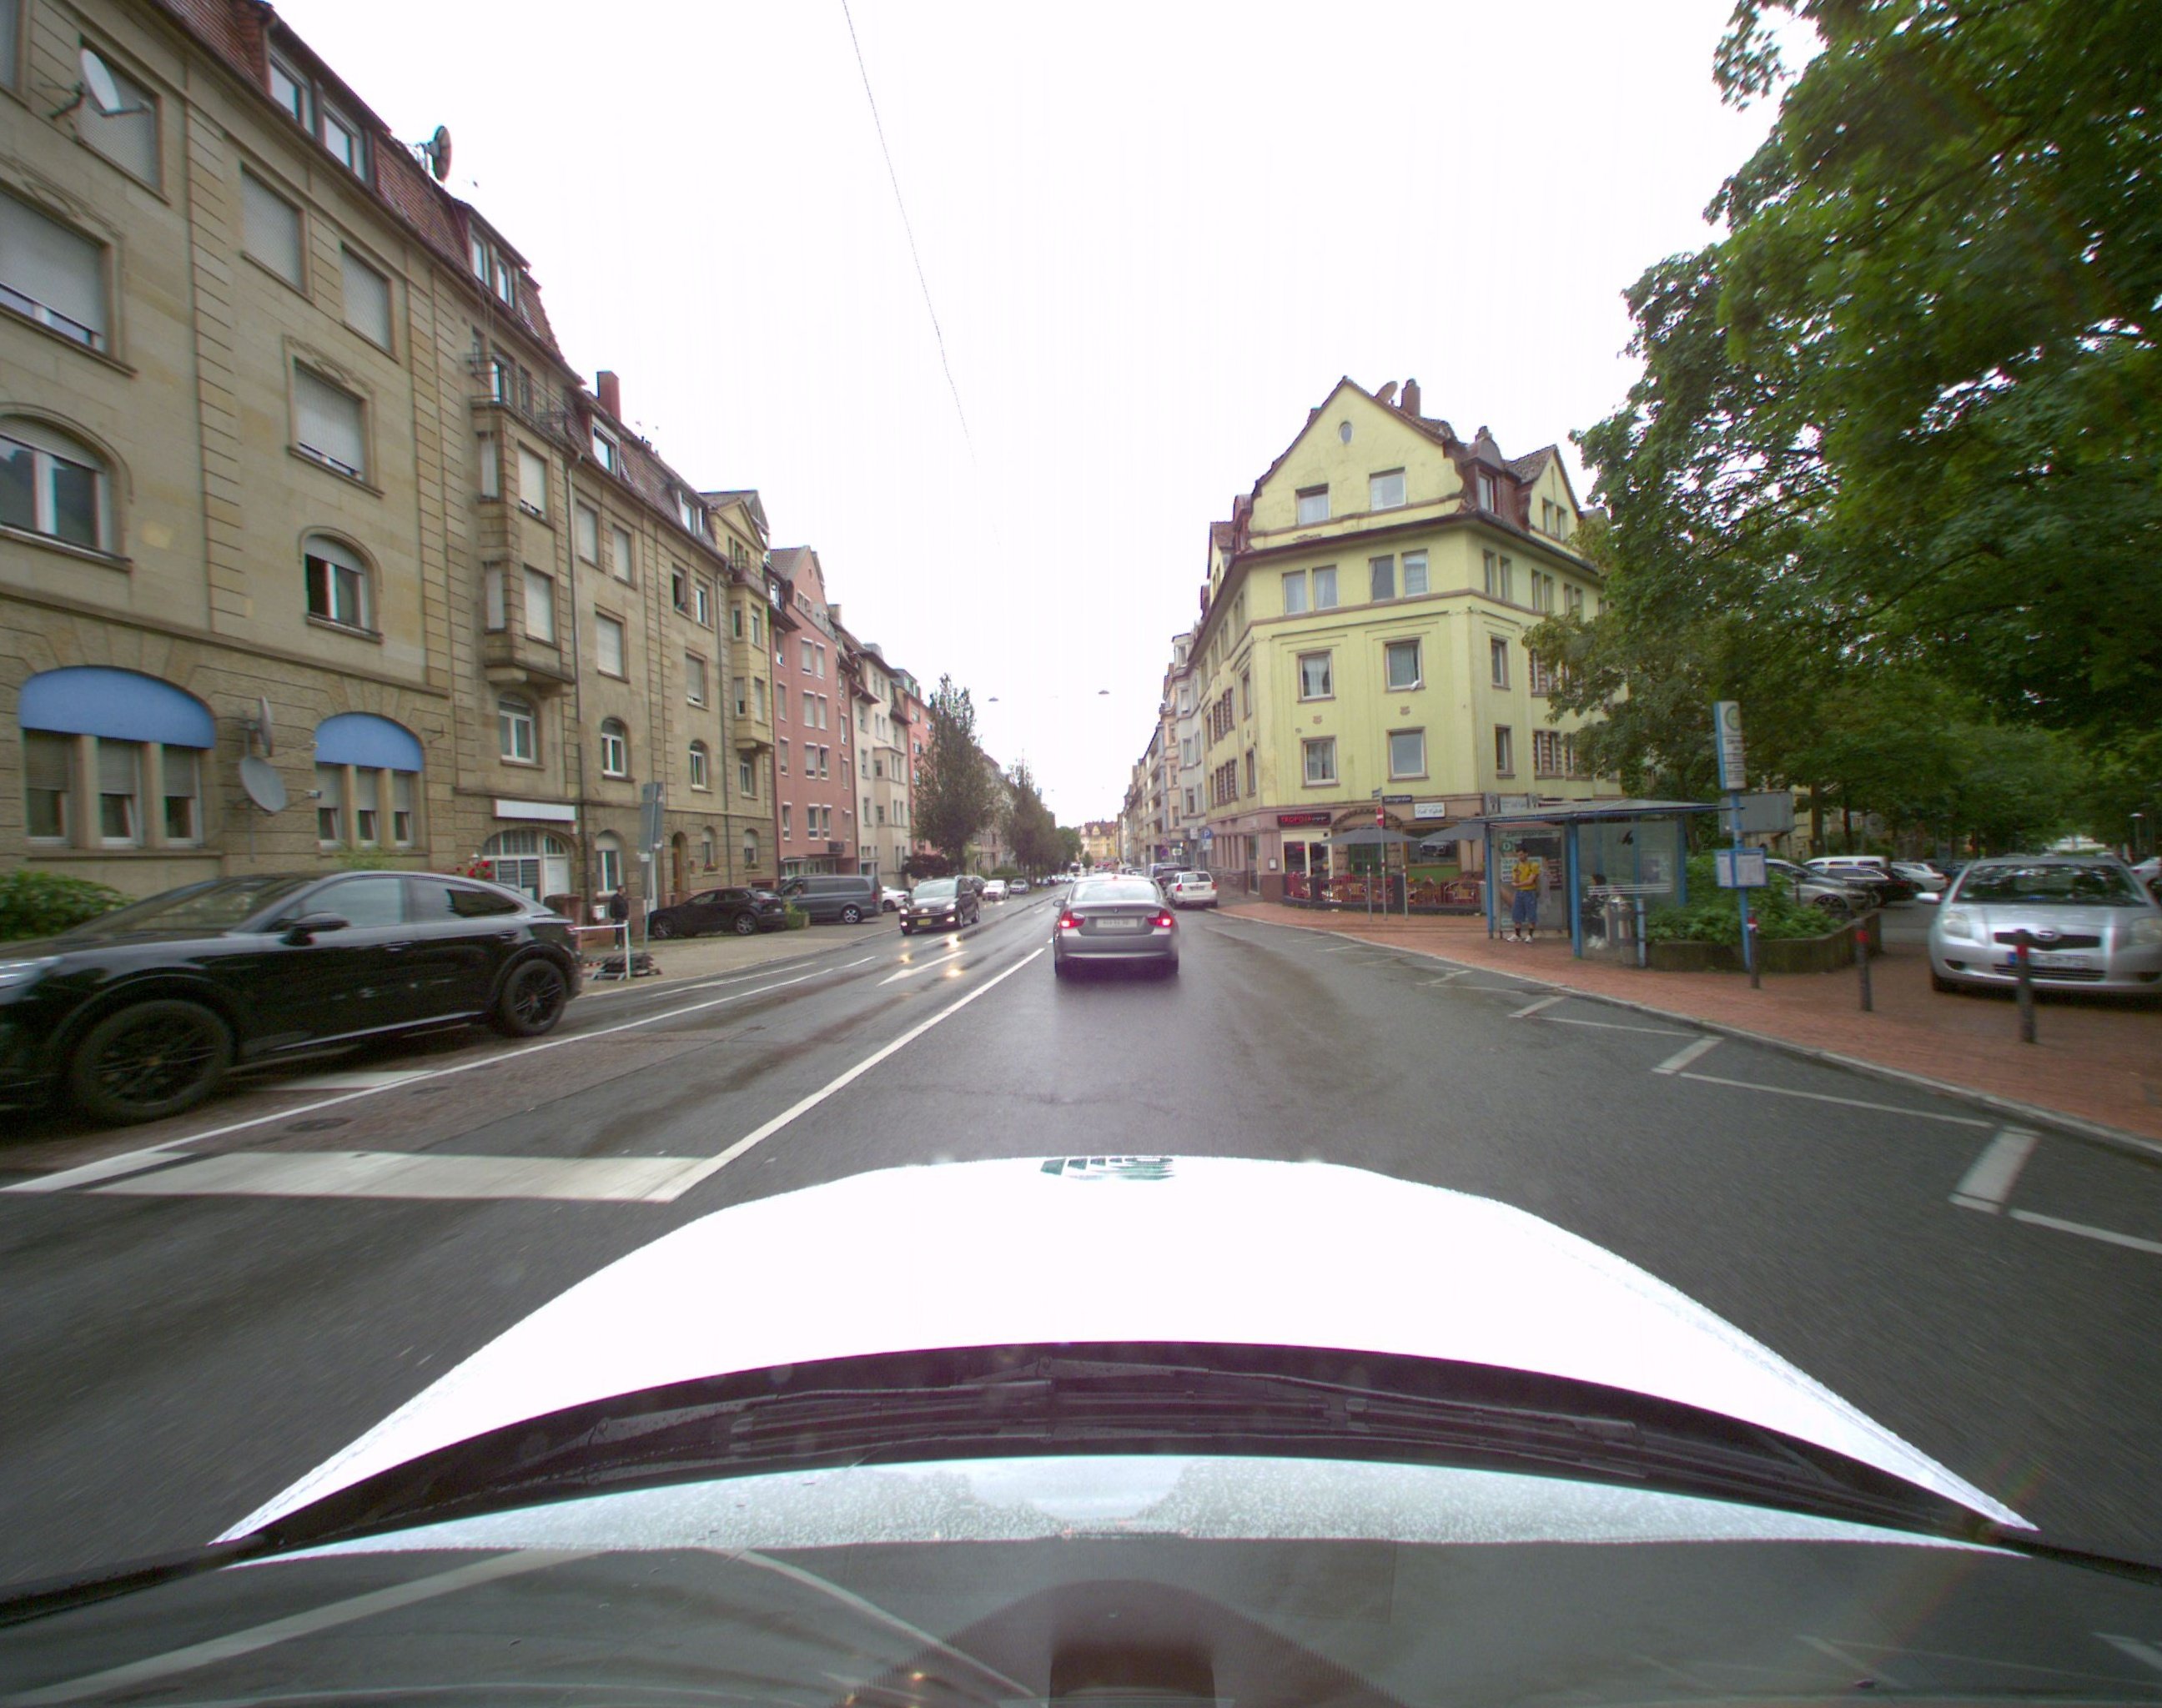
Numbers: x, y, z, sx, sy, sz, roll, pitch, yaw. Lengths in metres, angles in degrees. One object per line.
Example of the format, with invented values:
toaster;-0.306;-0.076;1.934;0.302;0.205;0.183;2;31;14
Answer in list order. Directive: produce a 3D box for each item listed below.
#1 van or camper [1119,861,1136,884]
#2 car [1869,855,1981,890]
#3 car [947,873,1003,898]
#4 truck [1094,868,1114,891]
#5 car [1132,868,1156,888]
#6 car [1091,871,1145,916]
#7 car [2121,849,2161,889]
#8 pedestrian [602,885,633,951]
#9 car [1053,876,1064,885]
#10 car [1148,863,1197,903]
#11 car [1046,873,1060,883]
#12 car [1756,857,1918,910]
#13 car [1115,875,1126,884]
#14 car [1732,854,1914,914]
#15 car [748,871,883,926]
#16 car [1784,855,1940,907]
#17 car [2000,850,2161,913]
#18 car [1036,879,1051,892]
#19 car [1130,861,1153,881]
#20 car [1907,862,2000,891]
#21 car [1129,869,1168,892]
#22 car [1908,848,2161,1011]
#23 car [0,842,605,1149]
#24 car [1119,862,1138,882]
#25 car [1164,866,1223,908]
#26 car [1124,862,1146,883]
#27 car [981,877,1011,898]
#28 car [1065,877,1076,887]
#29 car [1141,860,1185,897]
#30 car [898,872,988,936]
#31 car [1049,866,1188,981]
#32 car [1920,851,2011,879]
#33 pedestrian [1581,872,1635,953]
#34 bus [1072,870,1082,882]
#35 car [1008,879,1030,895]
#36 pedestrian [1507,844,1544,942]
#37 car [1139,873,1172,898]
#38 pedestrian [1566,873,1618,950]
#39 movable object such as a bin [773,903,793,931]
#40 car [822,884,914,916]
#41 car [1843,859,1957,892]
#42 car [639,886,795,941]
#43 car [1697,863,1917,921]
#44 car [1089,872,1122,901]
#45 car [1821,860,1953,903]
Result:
van or camper;6.154;2.459;108.181;2.023;2.869;6.893;0;-1;5
car;43.860;0.962;42.367;1.801;1.748;3.853;0;-1;-38
car;-9.850;2.900;75.980;4.812;1.974;2.048;-4;-2;1
truck;2.494;2.848;90.105;2.025;2.413;4.826;-1;-2;1
car;4.844;1.850;62.941;1.605;1.475;4.016;-2;-1;1
car;1.273;1.316;27.972;1.675;1.428;3.742;-1;-2;2
car;42.086;0.549;30.626;1.689;1.536;3.610;0;-1;-38
pedestrian;-12.829;1.771;22.542;0.474;1.777;0.567;-1;-1;9
car;-4.163;4.926;151.828;1.684;1.523;3.738;-5;-1;2
car;4.275;1.348;38.632;1.872;1.732;4.677;-1;-1;1
car;-4.500;3.894;131.674;1.820;1.523;3.738;-5;-1;2
car;26.770;1.010;28.934;1.801;1.727;3.954;0;-1;-38
car;7.034;4.578;146.044;1.692;1.483;3.975;-1;-2;1
car;23.183;0.891;25.553;1.801;1.727;3.954;0;-1;-38
car;-10.204;1.691;31.624;4.672;1.939;1.857;-1;-1;-9
car;28.917;0.966;30.253;1.801;1.789;3.954;0;-1;-38
car;28.638;0.736;22.750;1.686;1.667;3.743;0;-1;-35
car;-5.058;4.187;109.583;1.761;1.594;3.999;-5;-1;0
car;5.646;1.619;76.367;1.720;1.670;4.289;-5;-1;1
car;55.452;1.432;51.794;1.801;1.748;3.853;0;-1;-38
car;4.582;1.842;56.121;1.872;1.467;4.766;-1;-2;-5
car;10.901;0.726;9.292;3.693;1.502;1.750;1;-1;-40
car;-6.601;0.888;6.715;1.953;1.693;4.820;-2;-2;10
car;5.682;2.171;97.597;1.975;2.166;4.750;-4;-1;1
car;4.505;1.306;33.228;1.793;1.565;4.492;-1;-1;0
car;5.466;1.888;83.073;1.975;2.007;4.625;-4;-1;1
car;-6.360;2.523;61.450;1.615;1.446;4.007;-3;-1;2
car;-1.801;4.736;139.698;1.630;1.508;3.755;-6;-1;1
car;4.441;1.320;44.657;1.912;1.827;5.010;-4;-1;1
car;-4.234;1.482;25.608;1.614;1.649;4.424;-6;-1;4
car;0.493;0.948;12.343;1.763;1.428;3.740;-1;-2;0
car;57.858;0.721;53.320;1.801;1.748;3.853;0;-1;-38
pedestrian;8.601;0.938;13.311;0.565;1.280;0.536;-1;-1;13
bus;-1.125;6.443;238.802;2.659;3.024;7.671;-4;-1;1
car;-6.136;3.270;80.985;1.719;1.484;3.990;-1;-2;2
pedestrian;8.306;0.715;15.212;0.553;1.775;0.549;-1;-1;29
car;4.476;1.905;49.577;1.671;1.375;4.276;-2;-1;1
pedestrian;8.725;0.968;13.922;0.565;1.280;0.621;-1;-1;14
movable object such as a bin;-10.307;2.177;28.172;0.502;0.950;0.441;-1;-1;6
car;-11.691;2.505;44.872;4.532;1.401;1.768;-4;-1;0
car;41.404;1.076;41.231;1.741;1.589;3.853;0;-1;-38
car;-11.683;1.884;26.338;4.132;1.510;1.873;-2;-1;1
car;21.358;1.066;24.146;1.801;1.528;4.595;0;-1;-38
car;1.364;1.787;45.521;1.691;1.483;3.794;-1;-2;2
car;34.970;1.159;35.426;1.801;1.748;3.853;0;-1;-38
